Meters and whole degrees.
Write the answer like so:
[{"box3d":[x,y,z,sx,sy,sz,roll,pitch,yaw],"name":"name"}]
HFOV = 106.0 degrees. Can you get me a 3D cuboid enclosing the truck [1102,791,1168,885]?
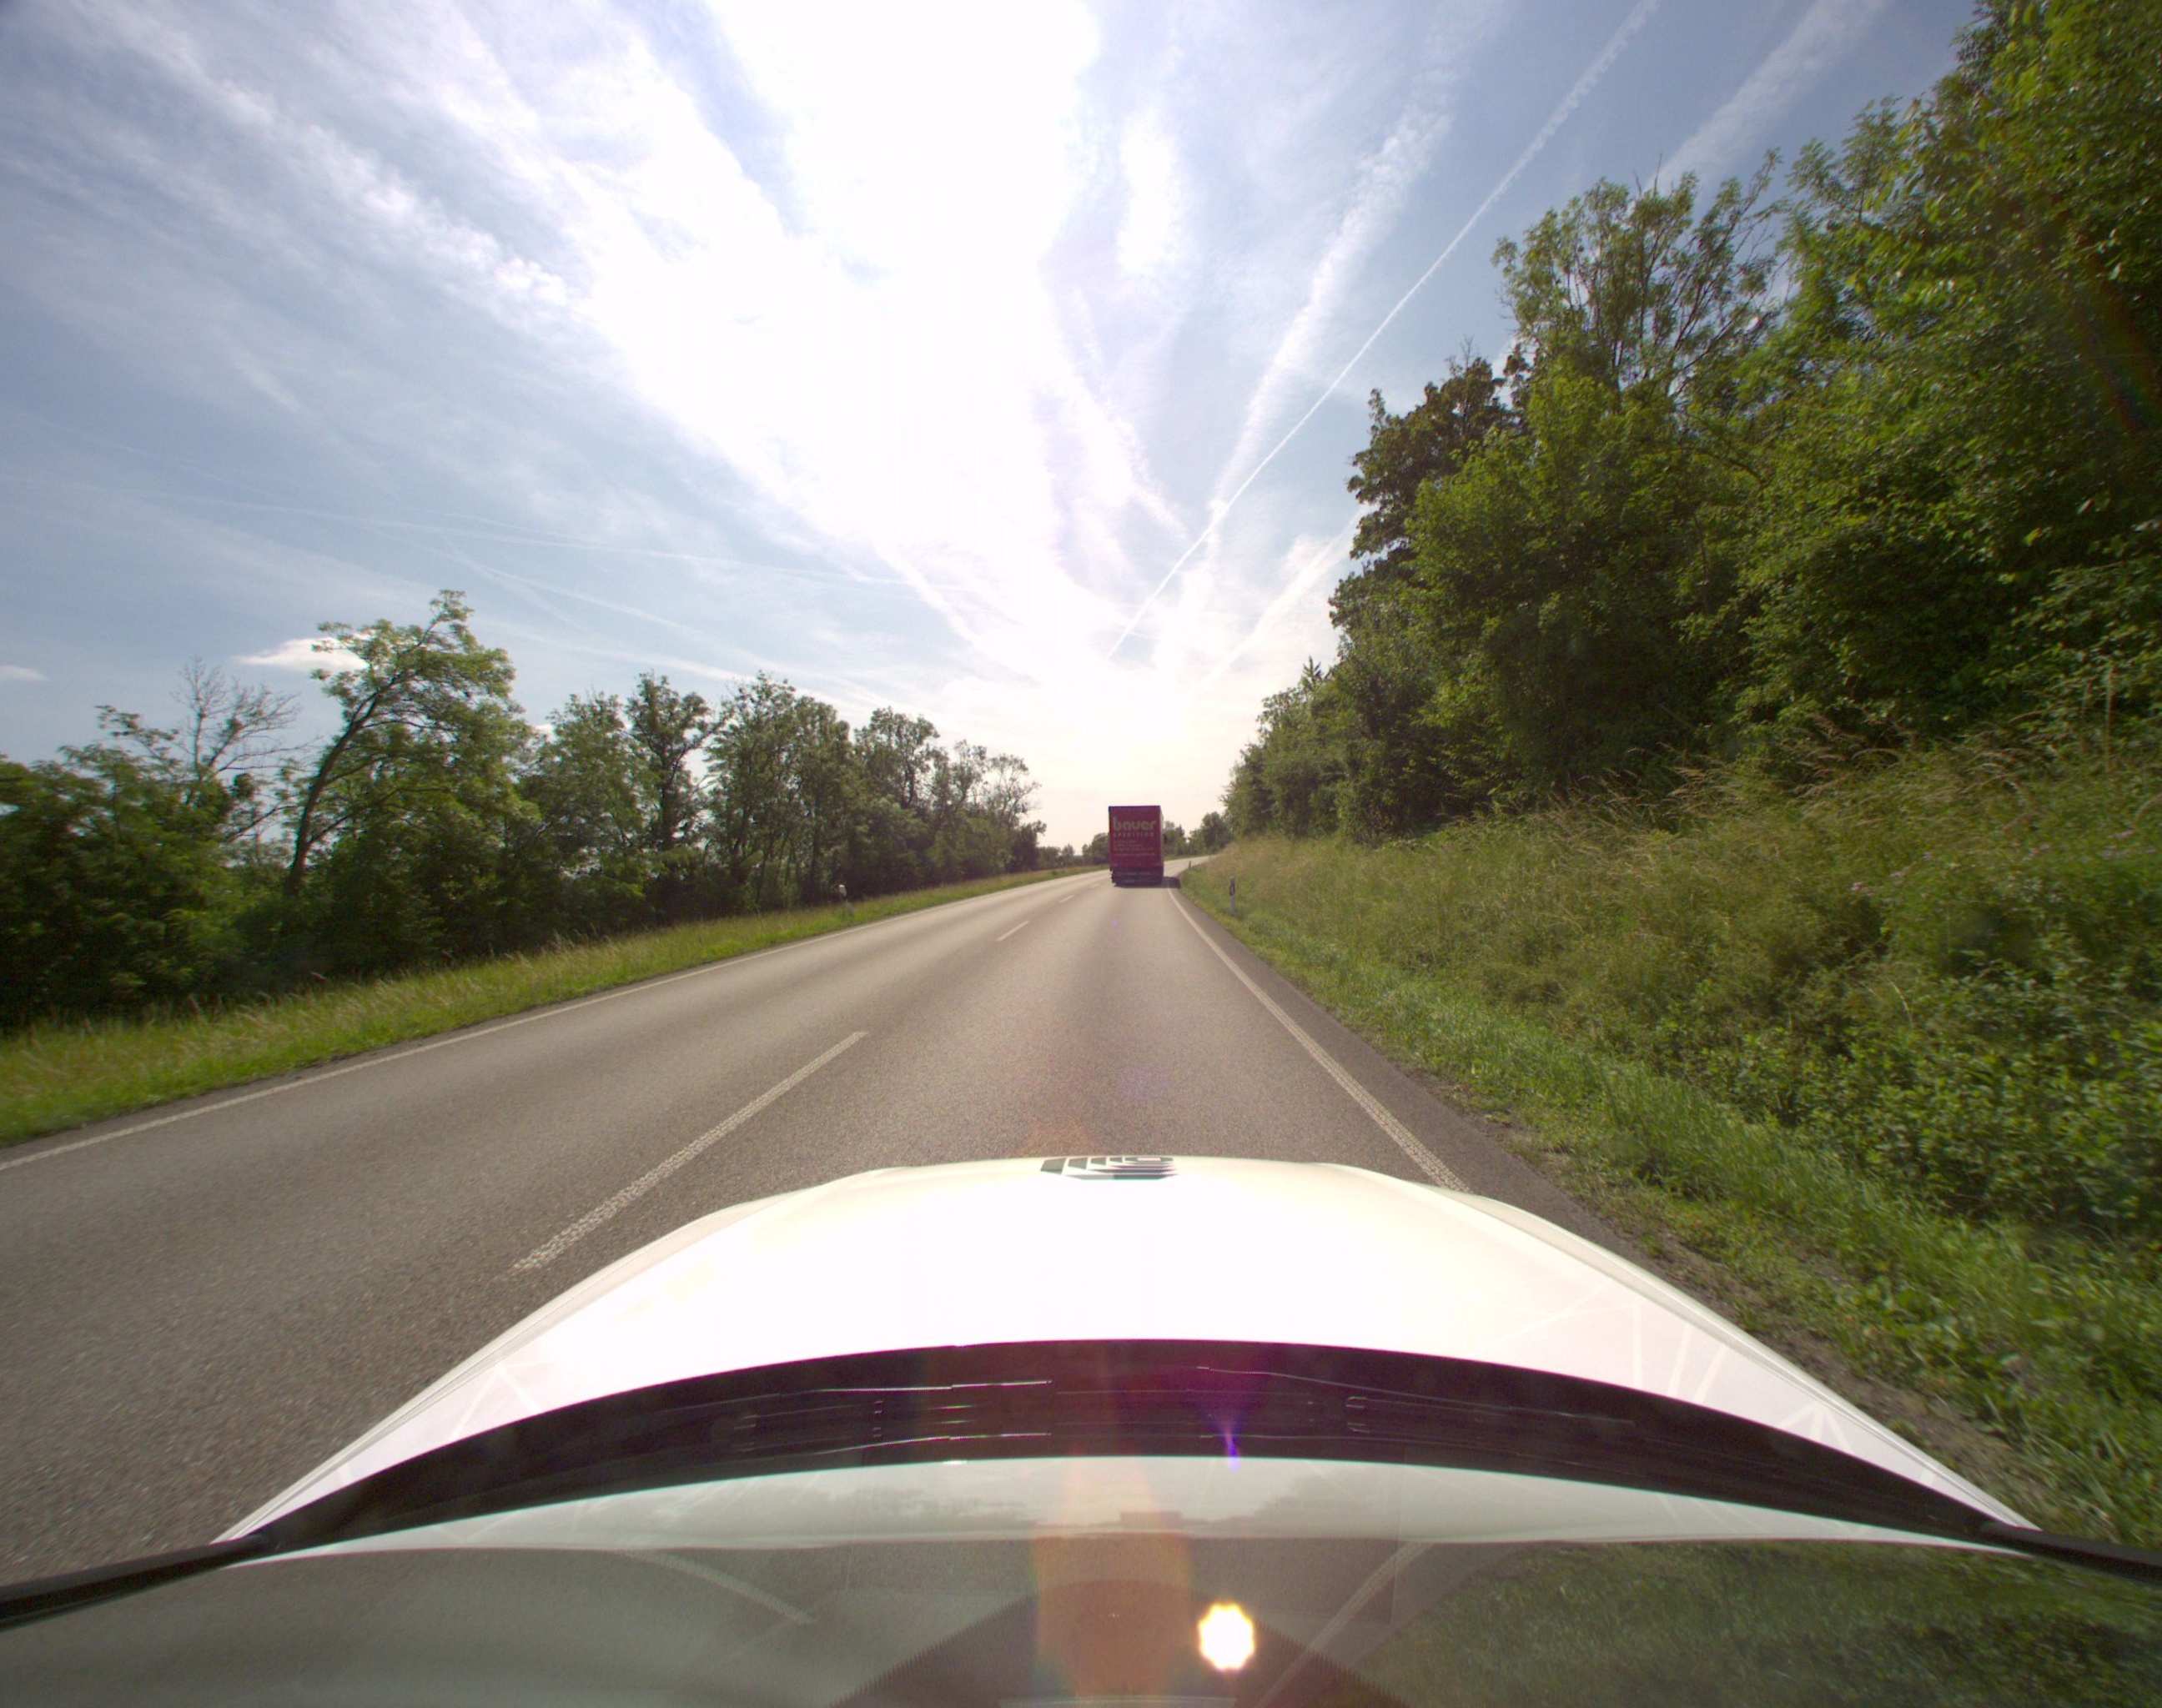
[{"box3d":[3.171,-0.760,45.521,3.097,4.506,12.185,-1,0,5],"name":"truck"}]
